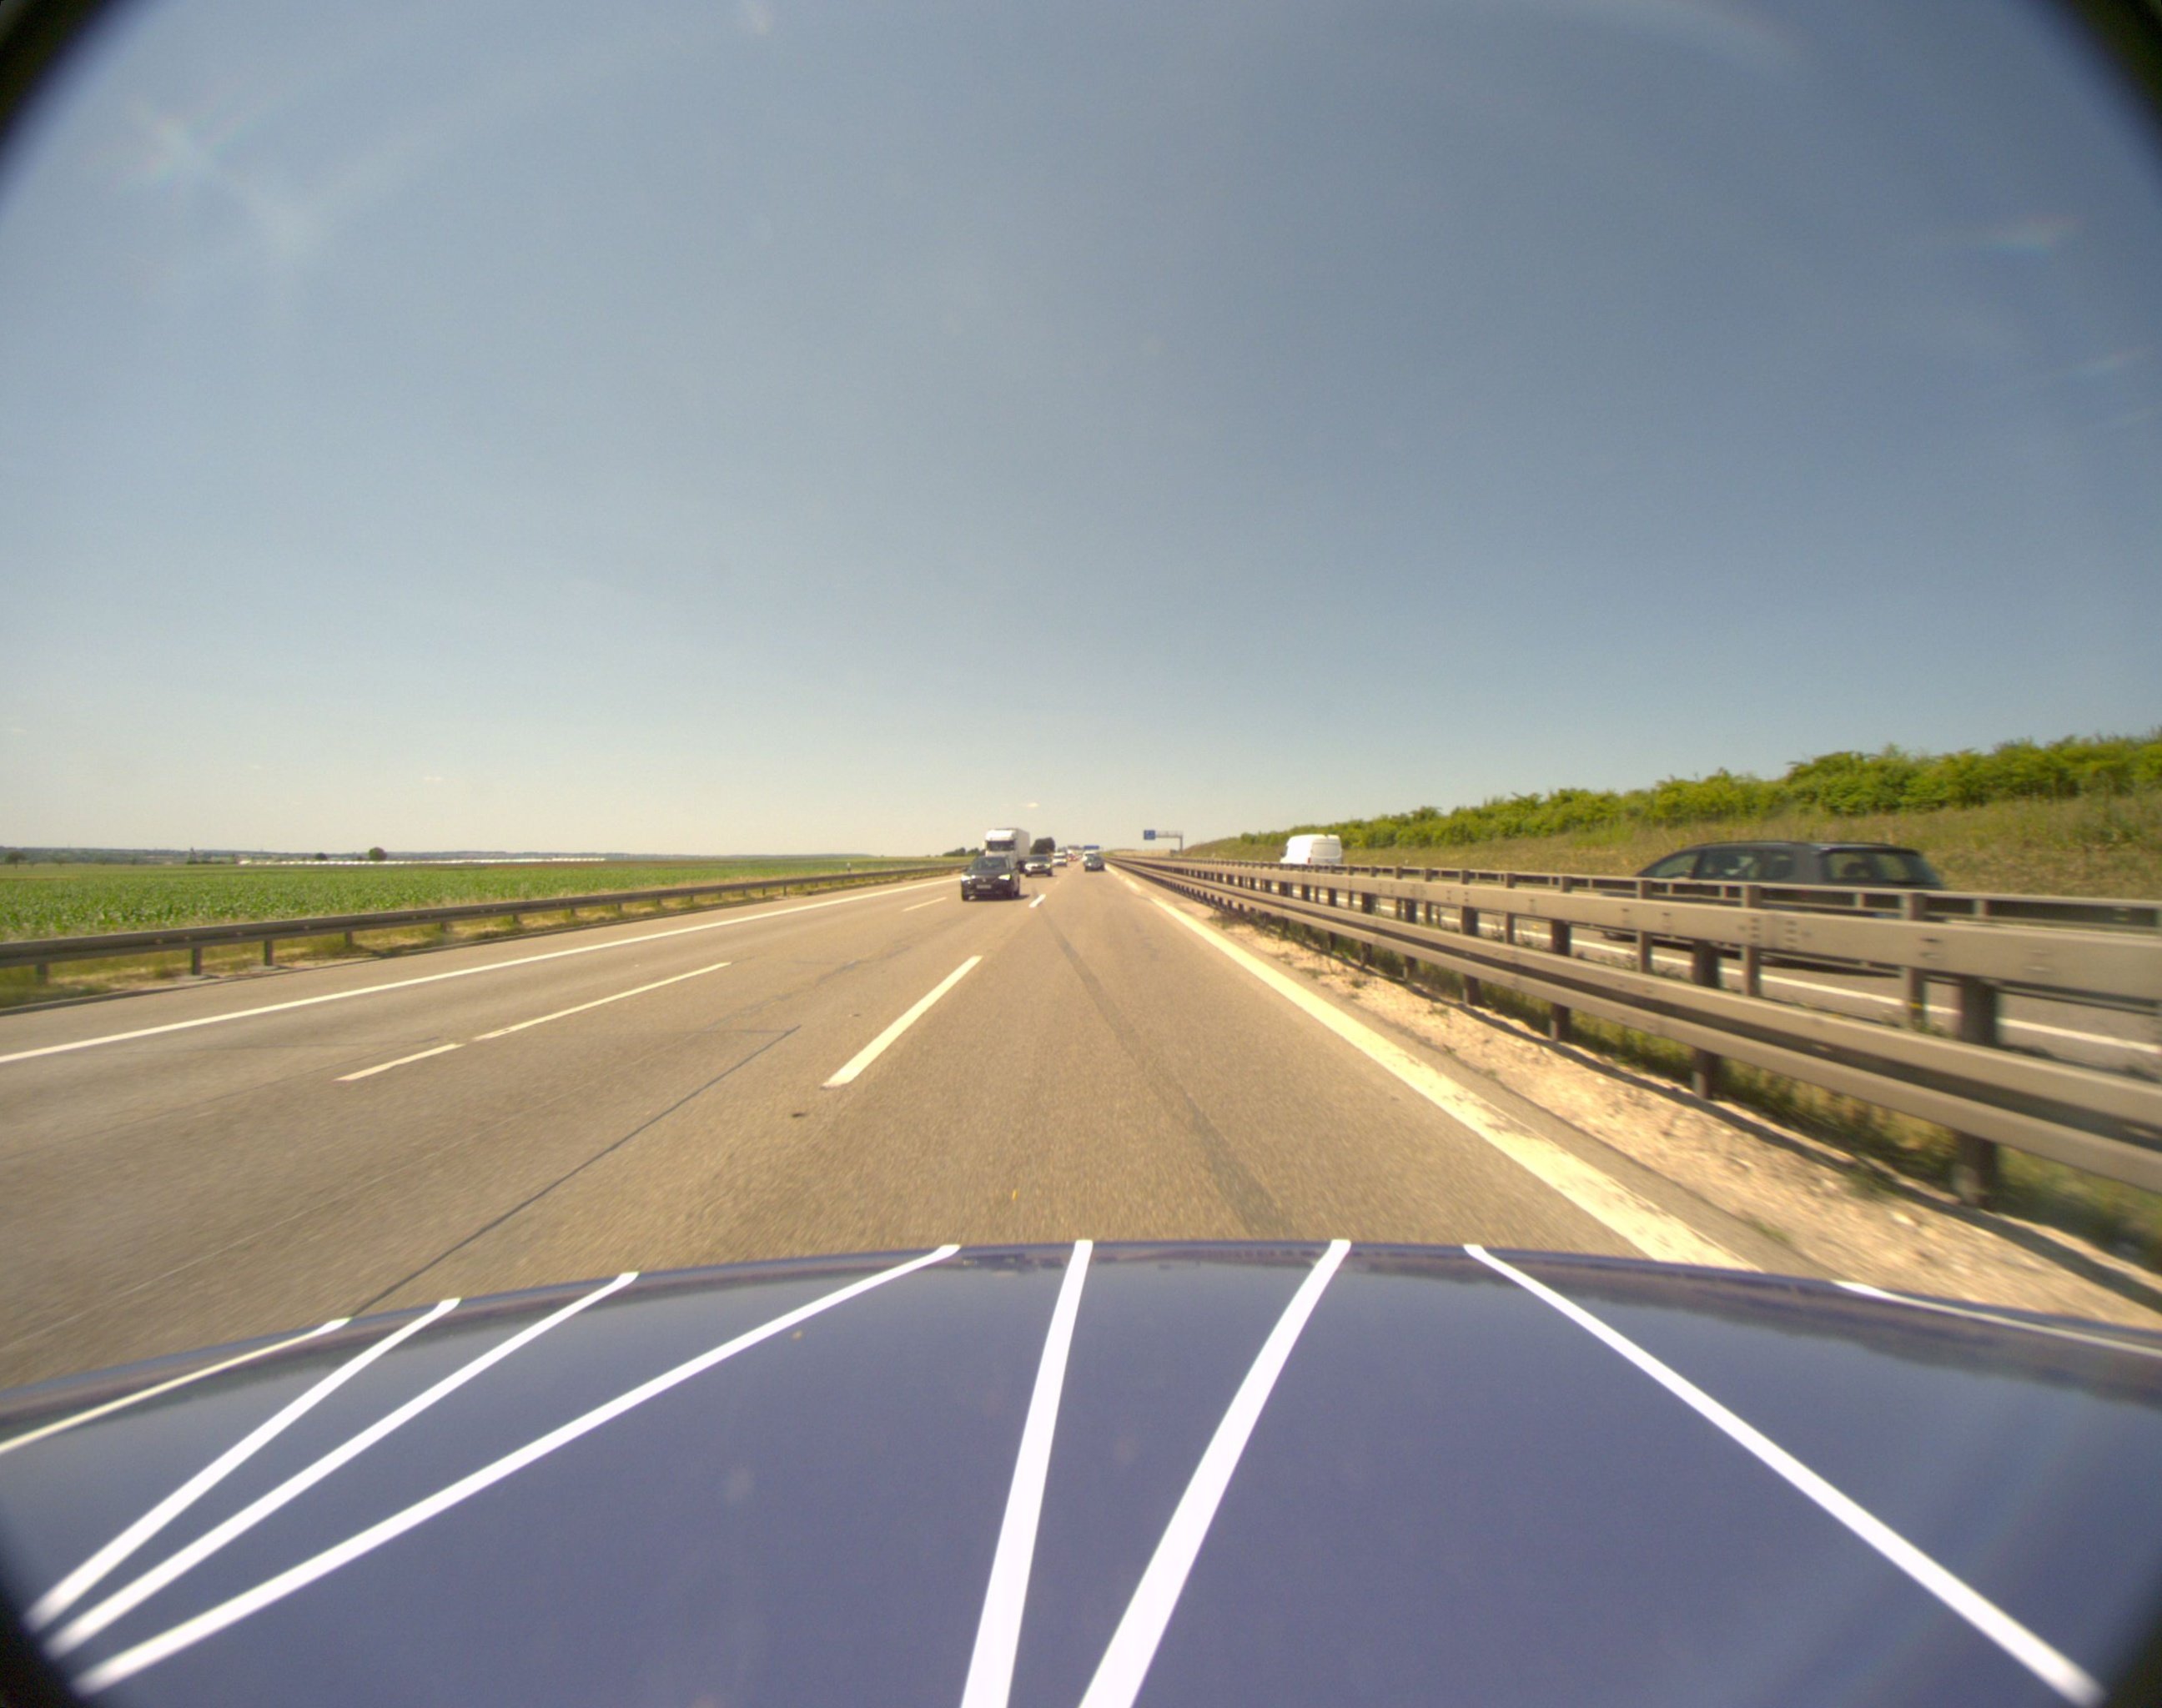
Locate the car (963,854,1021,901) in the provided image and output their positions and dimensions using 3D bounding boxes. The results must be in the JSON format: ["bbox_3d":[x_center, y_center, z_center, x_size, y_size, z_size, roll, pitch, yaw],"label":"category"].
[{"bbox_3d":[-3.253,0.812,28.415,1.801,1.553,3.822,-2,1,-2],"label":"car"}]

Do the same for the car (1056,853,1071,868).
[{"bbox_3d":[-2.351,0.801,99.207,1.812,1.836,5.311,-2,0,-2],"label":"car"}]

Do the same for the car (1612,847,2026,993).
[{"bbox_3d":[9.637,0.725,10.478,1.843,1.591,4.000,-1,1,1],"label":"car"}]

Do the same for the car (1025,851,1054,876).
[{"bbox_3d":[-3.011,0.701,56.214,1.856,1.638,4.645,-3,-1,-1],"label":"car"}]

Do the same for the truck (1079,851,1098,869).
[{"bbox_3d":[1.038,0.868,108.055,2.334,2.378,6.685,-2,1,-2],"label":"truck"}]

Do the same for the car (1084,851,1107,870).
[{"bbox_3d":[1.170,0.515,64.988,1.715,1.586,4.546,0,0,-2],"label":"car"}]

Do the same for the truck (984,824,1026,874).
[{"bbox_3d":[-6.627,-0.474,67.285,2.870,4.068,6.878,-2,1,0],"label":"truck"}]

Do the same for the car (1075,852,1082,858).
[{"bbox_3d":[-0.664,0.213,203.958,1.724,1.514,3.581,-2,1,-2],"label":"car"}]

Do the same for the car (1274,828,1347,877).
[{"bbox_3d":[13.397,-0.102,45.028,2.037,2.590,7.599,-2,1,1],"label":"car"}]

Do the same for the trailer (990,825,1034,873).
[{"bbox_3d":[-6.624,-0.522,74.628,2.875,4.196,13.292,-2,1,0],"label":"trailer"}]

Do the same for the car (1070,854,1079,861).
[{"bbox_3d":[-1.486,0.759,176.704,1.723,1.514,3.582,-2,1,2],"label":"car"}]
